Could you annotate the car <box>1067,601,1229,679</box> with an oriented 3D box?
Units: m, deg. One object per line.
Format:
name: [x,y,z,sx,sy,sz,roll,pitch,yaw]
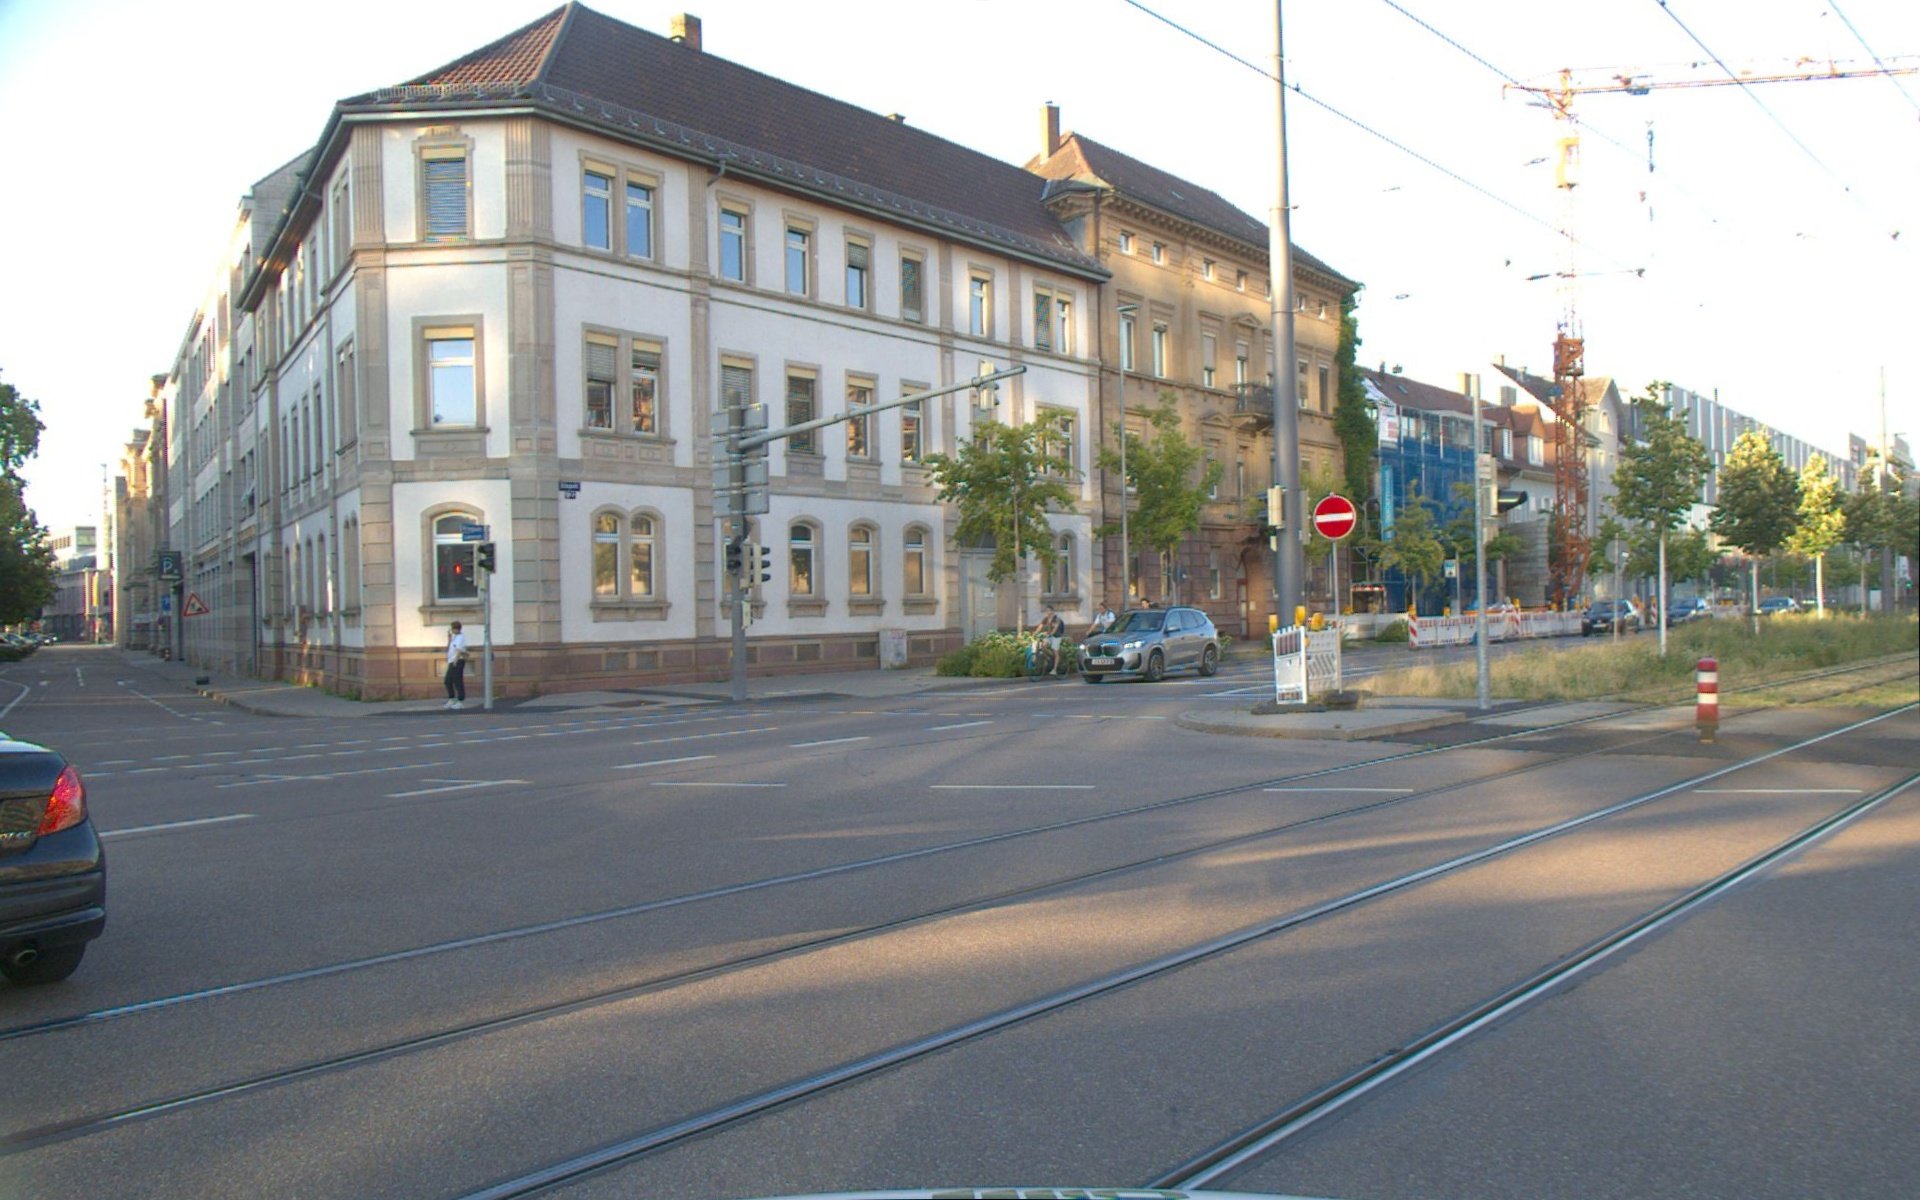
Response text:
car: [4.378,0.887,38.072,1.798,1.625,4.243,-3,-1,36]

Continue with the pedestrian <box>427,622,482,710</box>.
pedestrian: [-9.962,1.291,32.605,0.799,1.685,0.637,-2,-1,16]

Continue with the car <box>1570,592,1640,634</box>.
car: [27.194,0.517,69.635,1.670,1.625,4.243,-3,-1,36]

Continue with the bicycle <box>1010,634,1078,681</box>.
bicycle: [2.063,1.386,40.338,0.519,1.070,2.037,-1,0,40]

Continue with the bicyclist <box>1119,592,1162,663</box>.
bicyclist: [4.563,0.687,41.805,0.690,1.730,0.766,-5,-1,30]

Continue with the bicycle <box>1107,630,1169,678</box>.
bicycle: [4.486,1.342,41.588,0.706,1.070,2.040,-5,-2,30]

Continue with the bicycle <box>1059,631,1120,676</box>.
bicycle: [3.332,1.357,42.394,0.507,1.070,2.035,-1,0,38]

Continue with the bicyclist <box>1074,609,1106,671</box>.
bicyclist: [3.331,1.020,42.401,0.502,1.576,0.689,-1,0,38]

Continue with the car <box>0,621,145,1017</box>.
car: [-5.324,0.885,7.162,3.825,1.475,1.717,-2,0,38]

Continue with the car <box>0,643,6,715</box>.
car: [-21.134,1.717,34.509,1.802,1.543,3.546,-2,0,-26]

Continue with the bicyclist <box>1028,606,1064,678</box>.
bicyclist: [2.100,1.023,40.388,0.501,1.731,0.764,-1,0,40]
